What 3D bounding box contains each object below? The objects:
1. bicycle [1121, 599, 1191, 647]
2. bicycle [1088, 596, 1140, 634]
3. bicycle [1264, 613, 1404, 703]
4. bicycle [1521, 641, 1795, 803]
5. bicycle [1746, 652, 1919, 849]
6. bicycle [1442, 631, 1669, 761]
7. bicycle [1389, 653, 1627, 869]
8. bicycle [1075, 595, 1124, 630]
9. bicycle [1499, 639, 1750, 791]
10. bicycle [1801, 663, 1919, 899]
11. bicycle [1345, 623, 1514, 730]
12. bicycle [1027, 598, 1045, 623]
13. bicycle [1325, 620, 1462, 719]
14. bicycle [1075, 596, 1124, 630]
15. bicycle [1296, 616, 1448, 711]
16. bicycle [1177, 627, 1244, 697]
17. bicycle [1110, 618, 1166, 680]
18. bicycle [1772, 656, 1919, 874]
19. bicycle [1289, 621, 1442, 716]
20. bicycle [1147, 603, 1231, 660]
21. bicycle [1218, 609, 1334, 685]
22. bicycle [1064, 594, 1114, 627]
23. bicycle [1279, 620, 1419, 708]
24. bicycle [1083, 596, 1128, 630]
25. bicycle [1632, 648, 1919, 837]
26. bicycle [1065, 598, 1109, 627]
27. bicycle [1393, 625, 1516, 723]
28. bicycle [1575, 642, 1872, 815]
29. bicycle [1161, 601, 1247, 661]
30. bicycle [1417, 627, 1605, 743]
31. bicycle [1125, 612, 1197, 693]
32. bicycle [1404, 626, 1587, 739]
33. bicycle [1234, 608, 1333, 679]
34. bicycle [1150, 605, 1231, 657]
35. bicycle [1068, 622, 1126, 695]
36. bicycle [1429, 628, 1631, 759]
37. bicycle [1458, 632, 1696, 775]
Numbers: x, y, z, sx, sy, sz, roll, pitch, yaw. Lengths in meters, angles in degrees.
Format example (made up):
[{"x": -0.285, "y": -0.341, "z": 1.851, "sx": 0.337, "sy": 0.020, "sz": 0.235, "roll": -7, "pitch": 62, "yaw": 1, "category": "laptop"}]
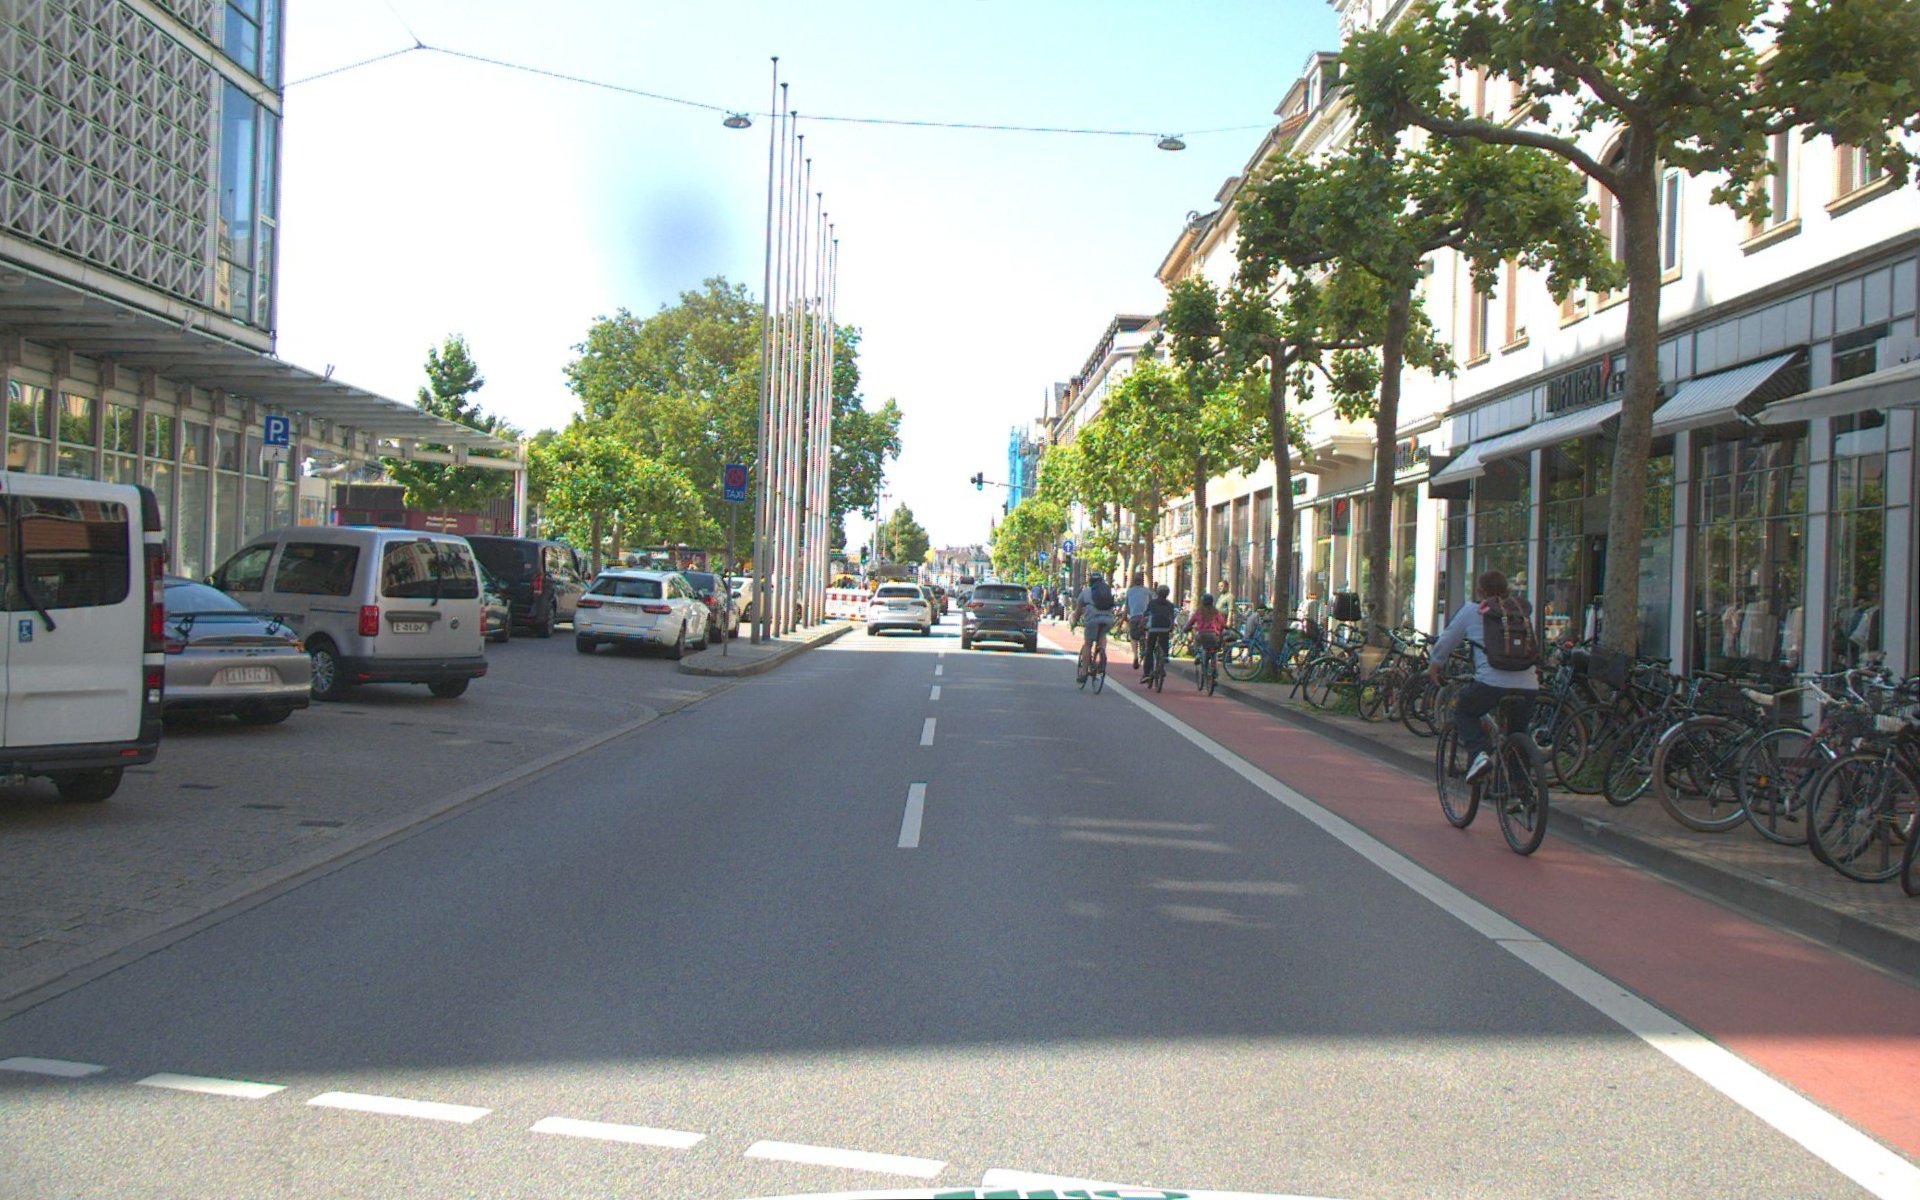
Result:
[{"x": 5.331, "y": 0.620, "z": 44.993, "sx": 1.801, "sy": 1.206, "sz": 0.670, "roll": 3, "pitch": 0, "yaw": 5, "category": "bicycle"}, {"x": 5.252, "y": 0.505, "z": 56.345, "sx": 1.692, "sy": 1.238, "sz": 0.477, "roll": 2, "pitch": 0, "yaw": 2, "category": "bicycle"}, {"x": 5.350, "y": 0.825, "z": 23.684, "sx": 1.807, "sy": 1.146, "sz": 0.631, "roll": 4, "pitch": -1, "yaw": -11, "category": "bicycle"}, {"x": 5.329, "y": 0.917, "z": 12.697, "sx": 1.802, "sy": 1.146, "sz": 0.666, "roll": 1, "pitch": -1, "yaw": 1, "category": "bicycle"}, {"x": 5.936, "y": 0.927, "z": 10.238, "sx": 1.802, "sy": 1.146, "sz": 0.666, "roll": 1, "pitch": -1, "yaw": 1, "category": "bicycle"}, {"x": 5.657, "y": 0.895, "z": 15.815, "sx": 1.943, "sy": 1.146, "sz": 0.762, "roll": 1, "pitch": -1, "yaw": 12, "category": "bicycle"}, {"x": 3.471, "y": 0.978, "z": 10.702, "sx": 0.684, "sy": 1.146, "sz": 2.080, "roll": 3, "pitch": 0, "yaw": -4, "category": "bicycle"}, {"x": 5.291, "y": 0.475, "z": 62.786, "sx": 1.805, "sy": 1.222, "sz": 0.545, "roll": 2, "pitch": 0, "yaw": 2, "category": "bicycle"}, {"x": 5.357, "y": 0.917, "z": 13.390, "sx": 1.802, "sy": 1.146, "sz": 0.530, "roll": 1, "pitch": -1, "yaw": 1, "category": "bicycle"}, {"x": 5.401, "y": 0.931, "z": 8.485, "sx": 1.801, "sy": 1.146, "sz": 0.667, "roll": 1, "pitch": -1, "yaw": 7, "category": "bicycle"}, {"x": 5.405, "y": 0.866, "z": 19.087, "sx": 1.804, "sy": 1.146, "sz": 0.447, "roll": 1, "pitch": -1, "yaw": 28, "category": "bicycle"}, {"x": 3.287, "y": 0.456, "z": 71.347, "sx": 0.634, "sy": 1.015, "sz": 2.030, "roll": 2, "pitch": 0, "yaw": 0, "category": "bicycle"}, {"x": 5.285, "y": 0.845, "z": 20.116, "sx": 1.826, "sy": 1.146, "sz": 0.586, "roll": 2, "pitch": -1, "yaw": -37, "category": "bicycle"}, {"x": 5.324, "y": 0.480, "z": 63.292, "sx": 1.805, "sy": 1.222, "sz": 0.609, "roll": 2, "pitch": 0, "yaw": 2, "category": "bicycle"}, {"x": 5.589, "y": 0.859, "z": 22.445, "sx": 1.808, "sy": 1.146, "sz": 0.763, "roll": 4, "pitch": -2, "yaw": -13, "category": "bicycle"}, {"x": 3.874, "y": 0.941, "z": 25.710, "sx": 0.588, "sy": 0.942, "sz": 2.086, "roll": 3, "pitch": 1, "yaw": -3, "category": "bicycle"}, {"x": 3.260, "y": 0.883, "z": 30.538, "sx": 0.758, "sy": 1.023, "sz": 2.329, "roll": 2, "pitch": 1, "yaw": 0, "category": "bicycle"}, {"x": 5.623, "y": 0.919, "z": 9.265, "sx": 1.802, "sy": 1.146, "sz": 0.666, "roll": 1, "pitch": -1, "yaw": 1, "category": "bicycle"}, {"x": 5.254, "y": 0.879, "z": 21.470, "sx": 1.802, "sy": 1.112, "sz": 0.564, "roll": 3, "pitch": 0, "yaw": 0, "category": "bicycle"}, {"x": 5.161, "y": 0.704, "z": 37.229, "sx": 1.801, "sy": 1.146, "sz": 0.498, "roll": 3, "pitch": 0, "yaw": 11, "category": "bicycle"}, {"x": 5.367, "y": 0.799, "z": 28.139, "sx": 1.806, "sy": 1.146, "sz": 0.496, "roll": 4, "pitch": 1, "yaw": -9, "category": "bicycle"}, {"x": 5.282, "y": 0.430, "z": 67.705, "sx": 1.904, "sy": 1.279, "sz": 0.701, "roll": 2, "pitch": 0, "yaw": -20, "category": "bicycle"}, {"x": 5.448, "y": 0.894, "z": 23.186, "sx": 1.807, "sy": 1.112, "sz": 0.563, "roll": 3, "pitch": 0, "yaw": -11, "category": "bicycle"}, {"x": 5.402, "y": 0.485, "z": 61.567, "sx": 1.615, "sy": 1.222, "sz": 0.474, "roll": 2, "pitch": 0, "yaw": 2, "category": "bicycle"}, {"x": 5.442, "y": 0.918, "z": 10.839, "sx": 1.802, "sy": 1.146, "sz": 0.643, "roll": 1, "pitch": -1, "yaw": 1, "category": "bicycle"}, {"x": 5.253, "y": 0.517, "z": 68.585, "sx": 1.746, "sy": 1.142, "sz": 0.562, "roll": 1, "pitch": 0, "yaw": -3, "category": "bicycle"}, {"x": 6.016, "y": 0.894, "z": 20.070, "sx": 1.826, "sy": 1.147, "sz": 0.442, "roll": 2, "pitch": -1, "yaw": -38, "category": "bicycle"}, {"x": 5.456, "y": 0.905, "z": 11.886, "sx": 1.802, "sy": 1.146, "sz": 0.666, "roll": 1, "pitch": -1, "yaw": 1, "category": "bicycle"}, {"x": 5.329, "y": 0.674, "z": 36.164, "sx": 1.801, "sy": 1.218, "sz": 0.674, "roll": 3, "pitch": 0, "yaw": 7, "category": "bicycle"}, {"x": 5.762, "y": 0.877, "z": 17.330, "sx": 1.801, "sy": 1.146, "sz": 0.448, "roll": 1, "pitch": -1, "yaw": 2, "category": "bicycle"}, {"x": 3.122, "y": 0.797, "z": 25.867, "sx": 0.684, "sy": 1.146, "sz": 2.080, "roll": 3, "pitch": 0, "yaw": -4, "category": "bicycle"}, {"x": 5.742, "y": 0.875, "z": 17.790, "sx": 1.801, "sy": 1.146, "sz": 0.448, "roll": 1, "pitch": -1, "yaw": 2, "category": "bicycle"}, {"x": 5.829, "y": 0.790, "z": 29.808, "sx": 1.754, "sy": 1.218, "sz": 0.572, "roll": 2, "pitch": 0, "yaw": -28, "category": "bicycle"}, {"x": 5.403, "y": 0.716, "z": 38.886, "sx": 1.801, "sy": 1.116, "sz": 0.794, "roll": 3, "pitch": 0, "yaw": 5, "category": "bicycle"}, {"x": 2.008, "y": 0.841, "z": 24.399, "sx": 0.617, "sy": 0.997, "sz": 2.088, "roll": 2, "pitch": 0, "yaw": -1, "category": "bicycle"}, {"x": 5.667, "y": 0.917, "z": 16.529, "sx": 1.801, "sy": 1.146, "sz": 0.530, "roll": 4, "pitch": -1, "yaw": 12, "category": "bicycle"}, {"x": 5.373, "y": 0.892, "z": 14.471, "sx": 1.802, "sy": 1.146, "sz": 0.680, "roll": 2, "pitch": -1, "yaw": 1, "category": "bicycle"}]
